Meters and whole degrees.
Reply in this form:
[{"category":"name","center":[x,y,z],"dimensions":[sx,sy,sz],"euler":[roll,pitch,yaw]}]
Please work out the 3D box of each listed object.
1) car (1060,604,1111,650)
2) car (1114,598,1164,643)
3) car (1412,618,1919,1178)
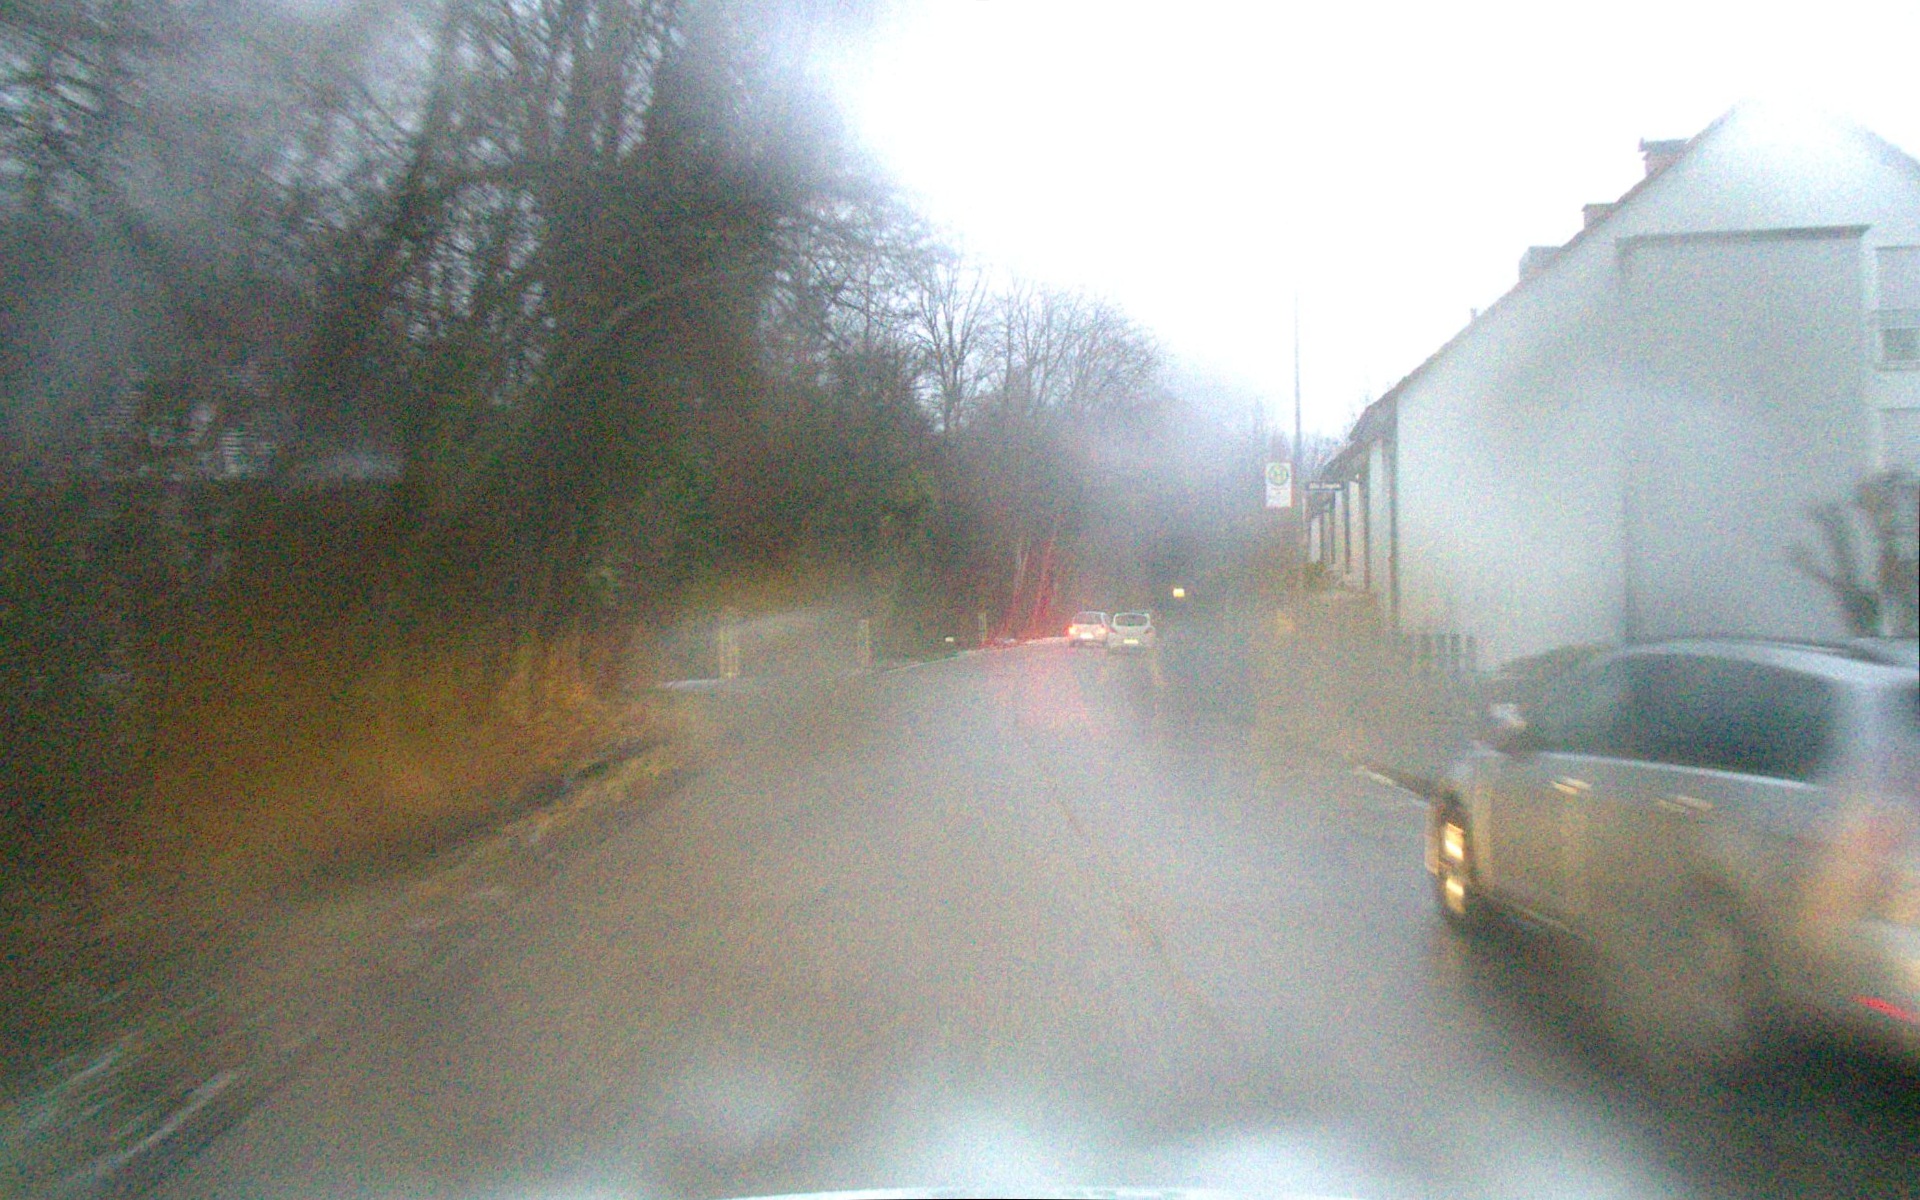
[{"category":"car","center":[5.174,1.101,68.015],"dimensions":[1.892,1.812,4.003],"euler":[-1,0,7]},{"category":"car","center":[6.413,0.729,59.046],"dimensions":[1.667,1.532,4.027],"euler":[1,-1,7]},{"category":"car","center":[3.314,0.828,6.512],"dimensions":[1.703,1.454,4.455],"euler":[2,-1,-2]}]
